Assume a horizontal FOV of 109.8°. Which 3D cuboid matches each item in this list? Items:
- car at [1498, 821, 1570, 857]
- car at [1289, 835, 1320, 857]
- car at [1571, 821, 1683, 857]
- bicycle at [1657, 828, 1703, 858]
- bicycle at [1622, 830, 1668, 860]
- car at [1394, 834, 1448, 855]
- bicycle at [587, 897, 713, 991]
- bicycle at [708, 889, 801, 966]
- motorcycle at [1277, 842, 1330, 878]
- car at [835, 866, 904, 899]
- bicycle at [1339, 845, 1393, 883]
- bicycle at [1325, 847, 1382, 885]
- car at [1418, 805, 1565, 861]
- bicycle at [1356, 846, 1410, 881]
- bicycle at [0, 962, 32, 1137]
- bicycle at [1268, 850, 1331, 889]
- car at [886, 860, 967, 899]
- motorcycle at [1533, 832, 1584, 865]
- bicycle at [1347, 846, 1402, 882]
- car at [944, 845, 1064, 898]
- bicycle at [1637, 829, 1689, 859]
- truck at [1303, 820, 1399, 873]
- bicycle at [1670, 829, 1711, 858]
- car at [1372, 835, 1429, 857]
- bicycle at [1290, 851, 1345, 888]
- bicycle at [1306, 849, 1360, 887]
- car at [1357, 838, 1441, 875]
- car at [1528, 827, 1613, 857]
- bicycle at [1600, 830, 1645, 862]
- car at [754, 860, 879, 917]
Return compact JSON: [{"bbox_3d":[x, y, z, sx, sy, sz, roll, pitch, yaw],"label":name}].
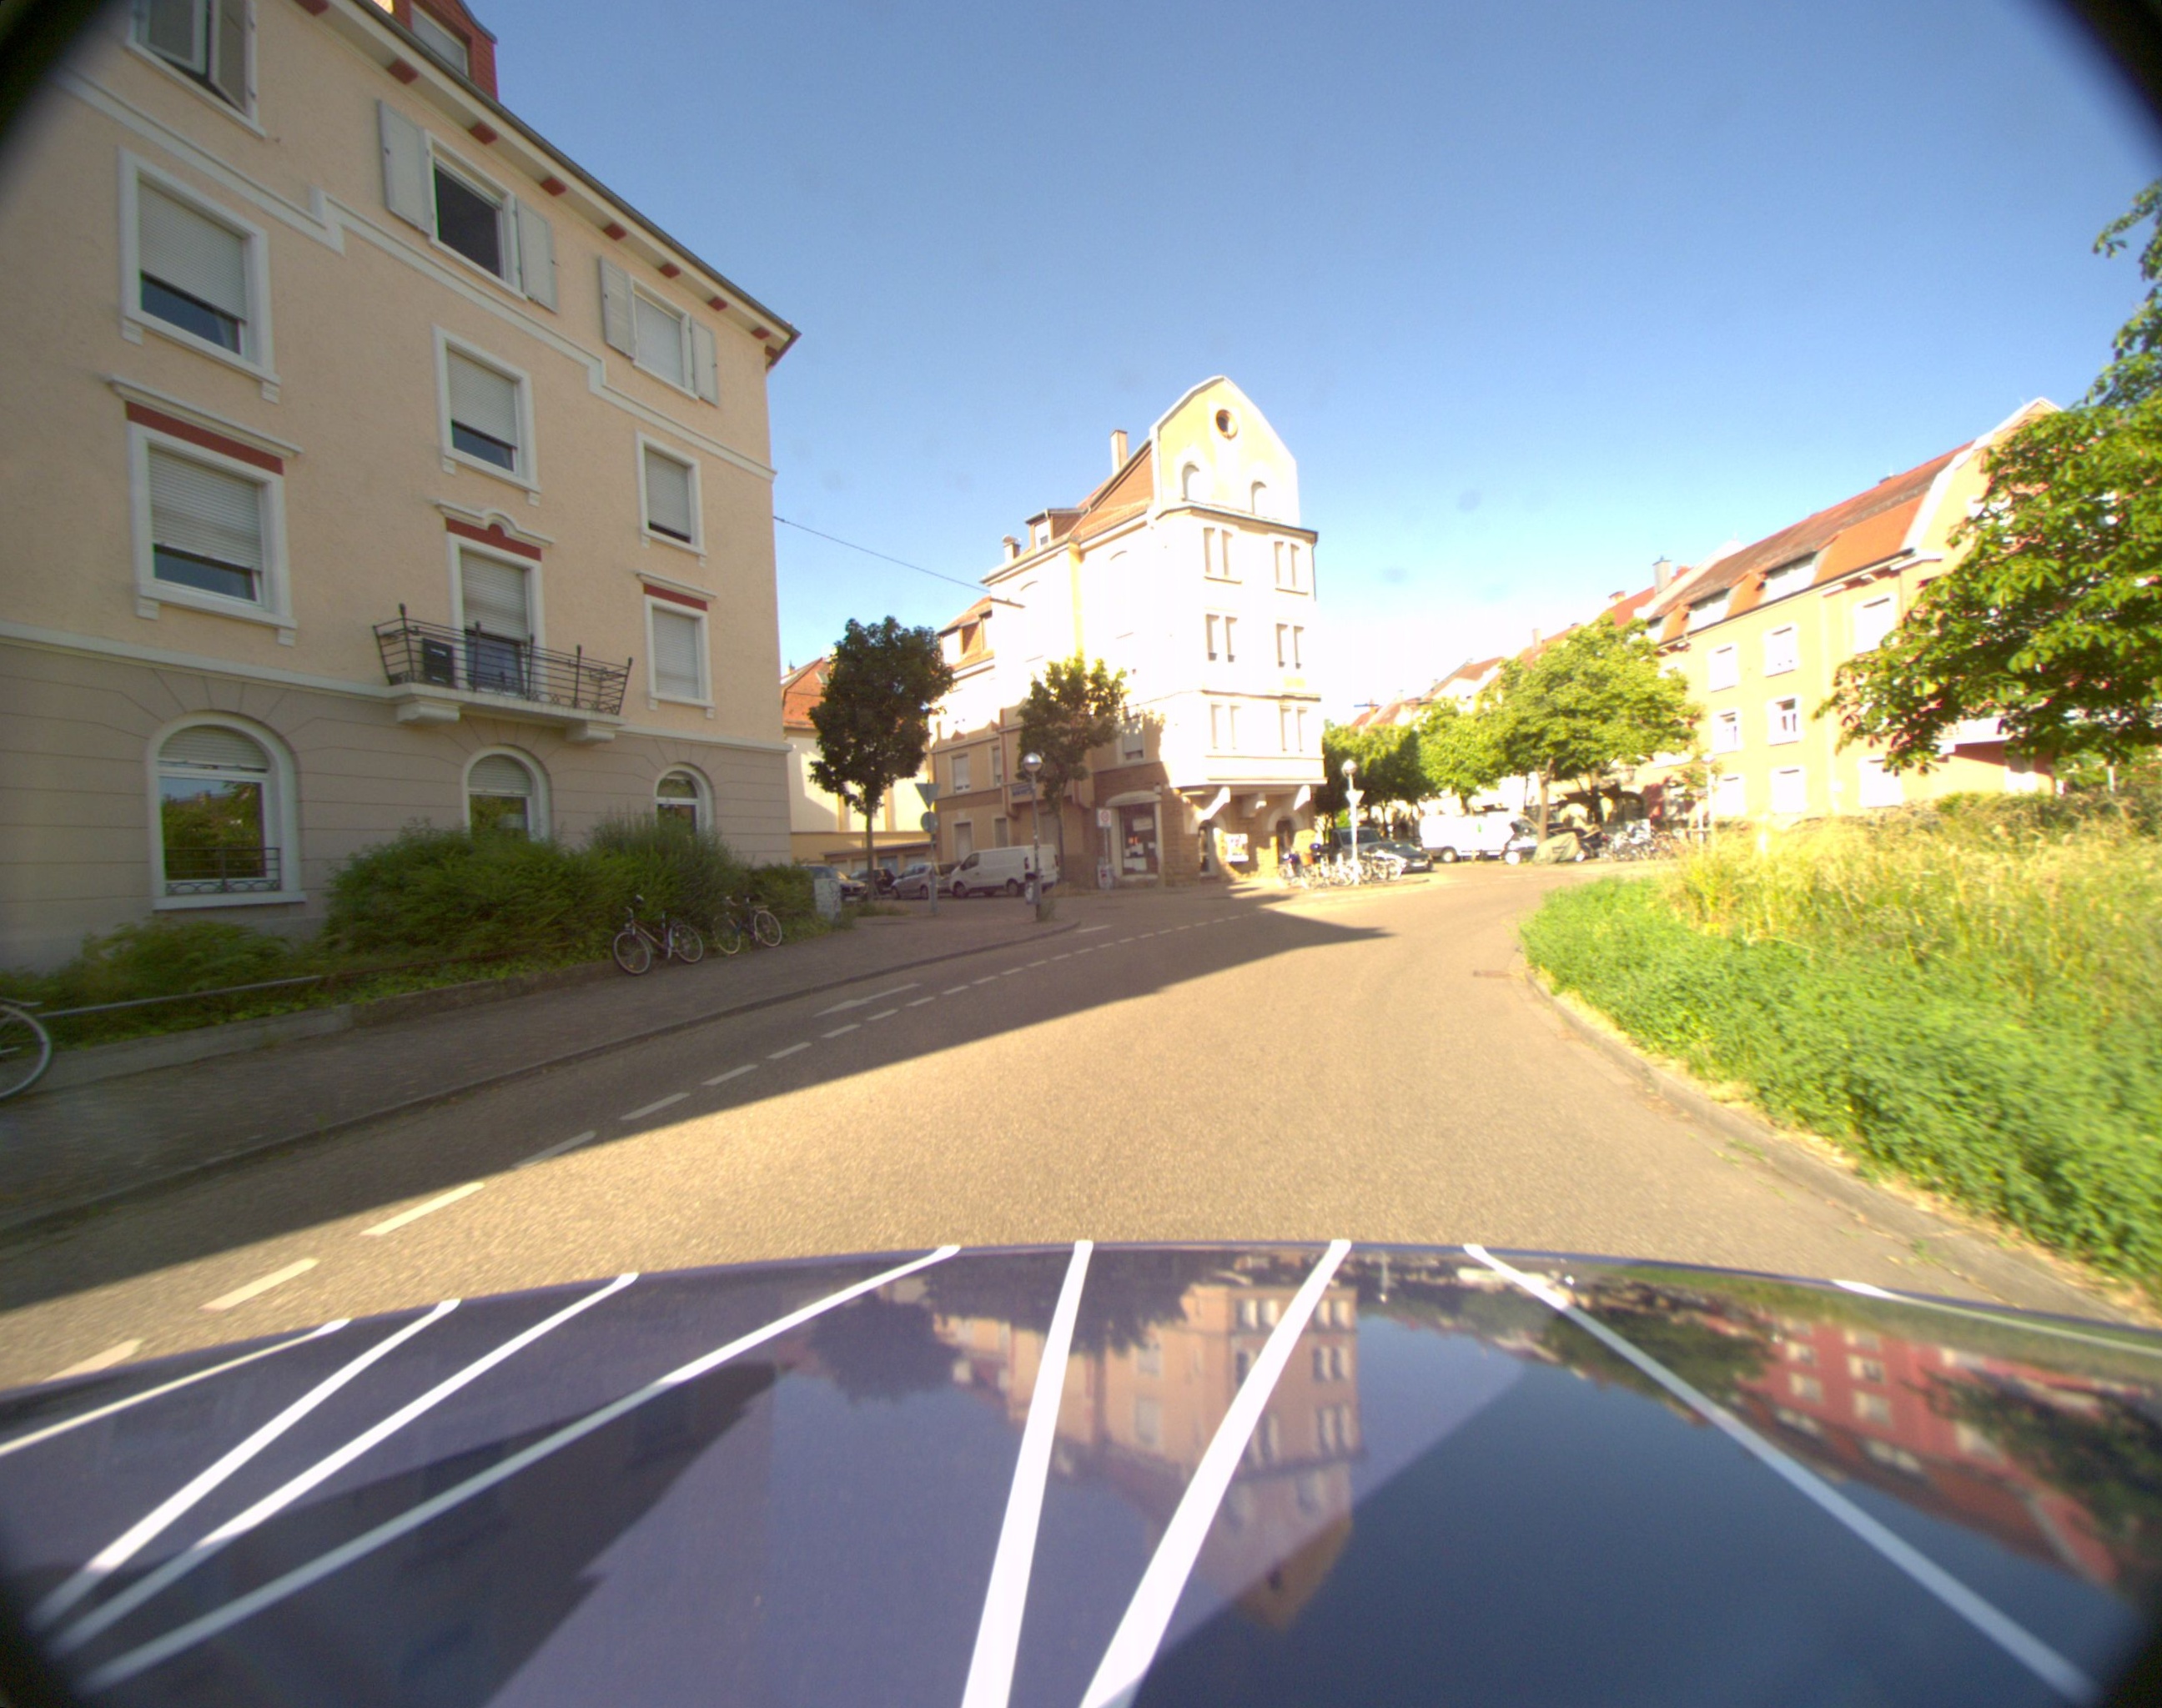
[{"bbox_3d":[25.334,-0.828,42.590,3.375,1.854,1.691,-2,0,29],"label":"car"},{"bbox_3d":[30.047,-1.070,102.221,2.430,2.829,4.863,-2,0,-4],"label":"car"},{"bbox_3d":[24.875,-0.662,34.788,3.912,1.438,1.691,-2,0,25],"label":"car"},{"bbox_3d":[23.483,-0.426,29.822,0.500,1.096,1.650,-4,0,3],"label":"bicycle"},{"bbox_3d":[22.190,-0.346,29.913,0.589,1.120,1.602,-4,0,1],"label":"bicycle"},{"bbox_3d":[25.254,-0.681,56.468,3.374,1.461,1.691,-2,0,38],"label":"car"},{"bbox_3d":[-5.919,1.197,10.556,0.502,1.082,1.688,-1,1,12],"label":"bicycle"},{"bbox_3d":[-5.348,1.173,12.560,0.502,1.082,1.688,-1,1,12],"label":"bicycle"},{"bbox_3d":[9.038,0.229,30.811,2.254,1.403,0.698,-1,0,-31],"label":"motorcycle"},{"bbox_3d":[-10.327,1.411,37.083,3.325,1.419,1.641,-4,0,42],"label":"car"},{"bbox_3d":[9.287,0.339,24.837,0.452,1.184,1.693,-4,1,-30],"label":"bicycle"},{"bbox_3d":[8.782,0.393,24.549,0.617,1.139,1.693,-4,1,-30],"label":"bicycle"},{"bbox_3d":[21.270,-1.018,39.592,6.358,2.585,2.108,-2,0,41],"label":"car"},{"bbox_3d":[10.051,0.322,25.358,0.484,1.117,1.715,-4,0,-28],"label":"bicycle"},{"bbox_3d":[-7.230,1.251,4.132,0.501,1.082,1.688,-1,1,14],"label":"bicycle"},{"bbox_3d":[6.739,0.502,23.570,0.700,1.123,1.864,-5,0,-28],"label":"bicycle"},{"bbox_3d":[-6.980,1.155,34.159,3.728,1.563,1.641,-4,0,42],"label":"car"},{"bbox_3d":[19.493,-0.223,31.031,1.709,1.263,0.538,-2,1,5],"label":"motorcycle"},{"bbox_3d":[9.657,0.347,25.056,0.484,1.117,1.693,-4,1,-30],"label":"bicycle"},{"bbox_3d":[-3.170,0.736,30.723,4.549,1.898,2.145,-4,0,40],"label":"car"},{"bbox_3d":[22.903,-0.376,29.941,0.656,1.082,1.730,-4,0,1],"label":"bicycle"},{"bbox_3d":[13.395,-0.335,38.277,2.138,2.278,6.620,-4,0,-2],"label":"truck"},{"bbox_3d":[24.019,-0.421,29.976,0.419,1.083,1.574,-2,1,3],"label":"bicycle"},{"bbox_3d":[22.942,-0.560,54.608,3.374,1.461,1.691,-2,0,38],"label":"car"},{"bbox_3d":[7.431,0.496,23.941,0.536,1.084,1.876,-4,0,-22],"label":"bicycle"},{"bbox_3d":[8.006,0.441,24.201,0.638,1.139,1.694,-4,0,-22],"label":"bicycle"},{"bbox_3d":[13.549,0.105,32.628,1.687,1.382,3.921,-4,0,-3],"label":"car"},{"bbox_3d":[25.703,-0.615,40.011,3.378,1.438,1.690,-2,0,14],"label":"car"},{"bbox_3d":[21.335,-0.318,29.990,0.538,1.186,1.680,-4,0,1],"label":"bicycle"},{"bbox_3d":[-8.701,1.133,24.824,4.336,1.632,1.913,-4,0,42],"label":"car"}]
